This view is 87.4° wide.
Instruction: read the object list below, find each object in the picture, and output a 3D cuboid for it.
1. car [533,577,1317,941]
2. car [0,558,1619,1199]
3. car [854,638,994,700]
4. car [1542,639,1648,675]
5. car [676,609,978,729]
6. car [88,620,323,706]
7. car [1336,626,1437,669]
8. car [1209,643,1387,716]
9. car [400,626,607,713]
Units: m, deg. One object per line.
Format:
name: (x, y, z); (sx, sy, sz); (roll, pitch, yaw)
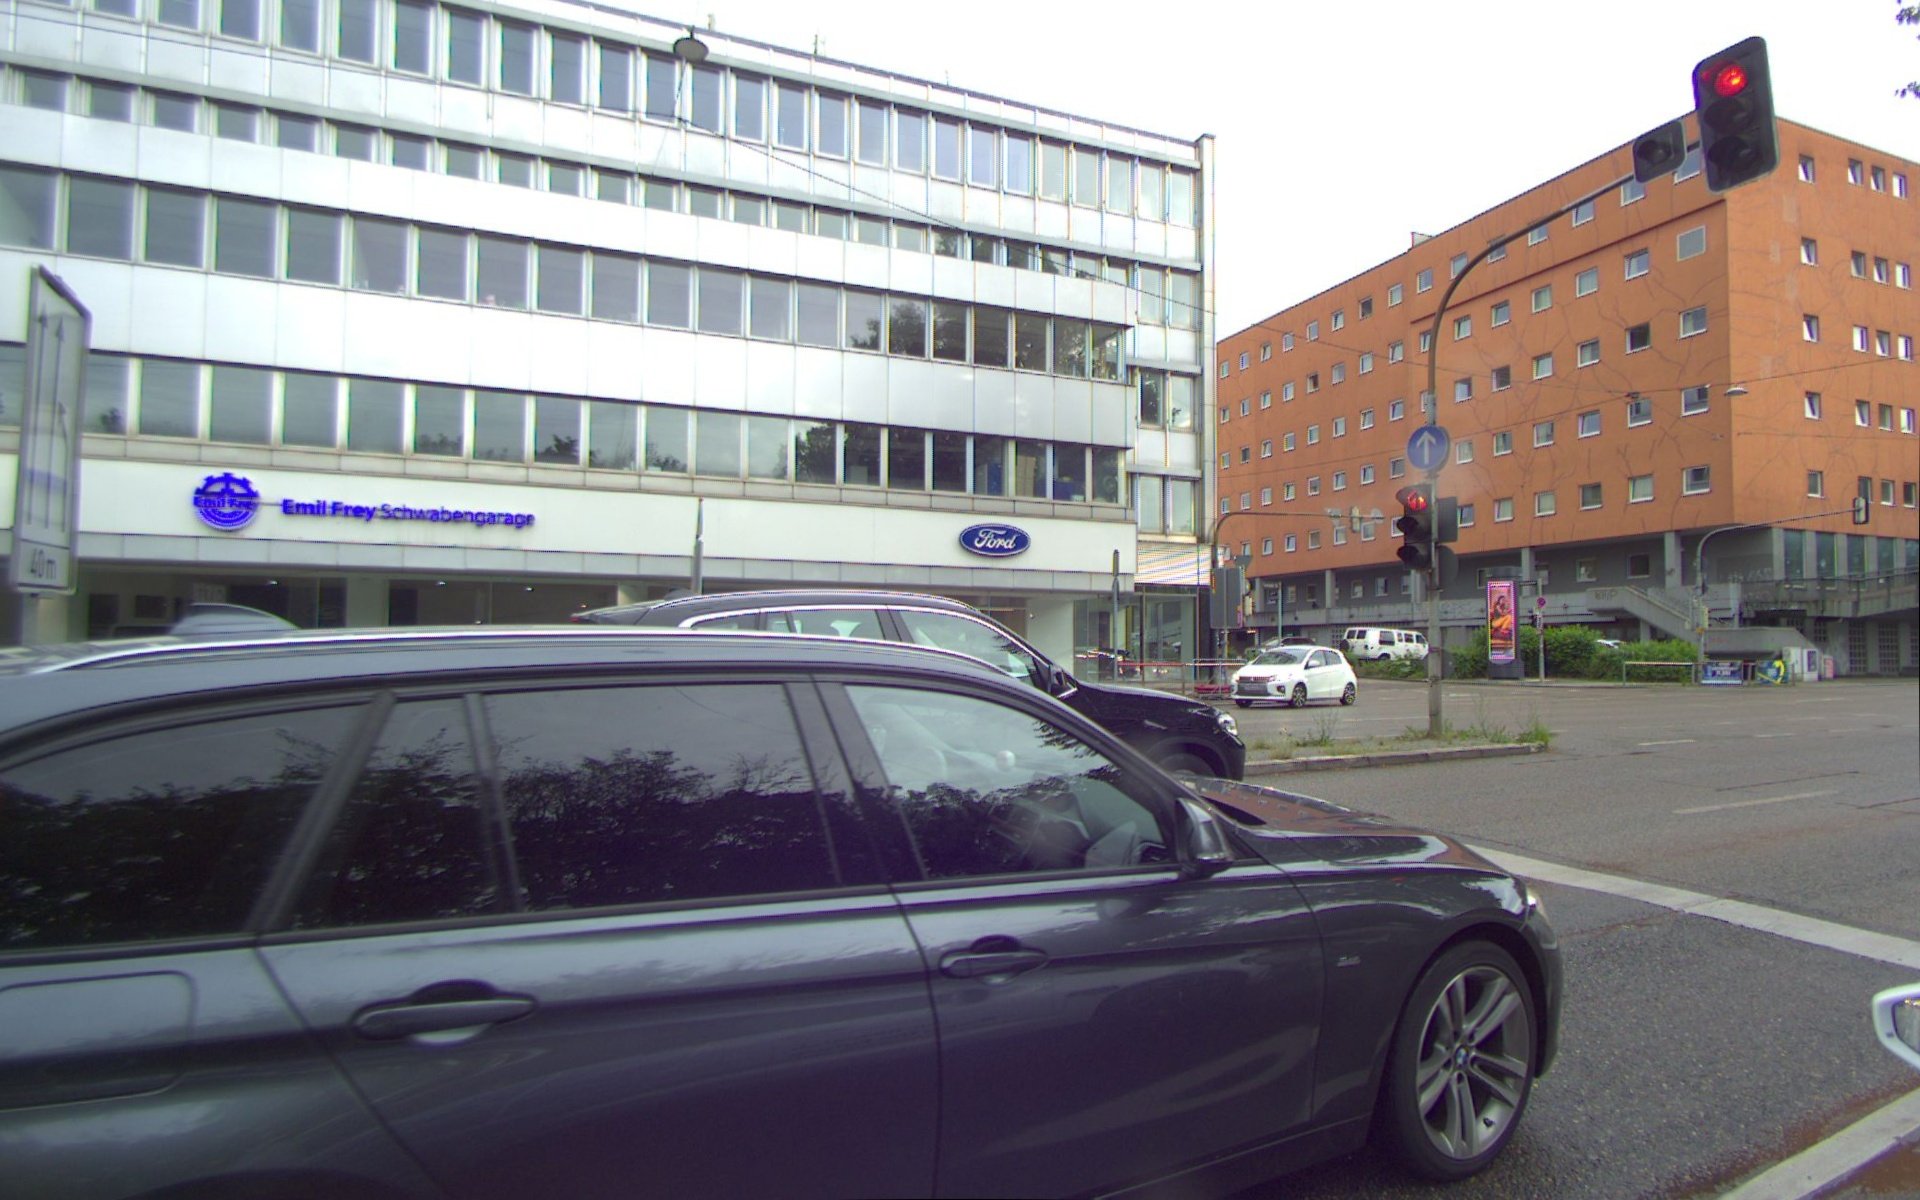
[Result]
car: (-0.168, 0.760, 6.388); (4.608, 1.618, 1.941); (1, -2, -26)
car: (-0.321, 0.787, 2.646); (4.129, 1.468, 1.751); (4, -2, -30)
car: (-1.222, 2.165, 31.406); (1.983, 1.761, 4.721); (3, -5, -39)
car: (30.618, 2.783, 48.594); (1.865, 1.638, 4.011); (1, -4, -20)
car: (-2.419, 1.241, 18.274); (5.135, 1.957, 1.991); (1, -4, -21)
car: (-18.184, 1.538, 24.241); (4.889, 1.921, 2.001); (-2, -4, 17)
car: (22.165, 2.464, 52.198); (4.781, 2.040, 1.989); (2, 1, -22)
car: (8.495, 1.953, 25.069); (4.785, 1.659, 1.978); (3, -5, -39)
car: (-11.701, 1.783, 25.699); (5.109, 2.037, 1.999); (-2, -4, 26)
